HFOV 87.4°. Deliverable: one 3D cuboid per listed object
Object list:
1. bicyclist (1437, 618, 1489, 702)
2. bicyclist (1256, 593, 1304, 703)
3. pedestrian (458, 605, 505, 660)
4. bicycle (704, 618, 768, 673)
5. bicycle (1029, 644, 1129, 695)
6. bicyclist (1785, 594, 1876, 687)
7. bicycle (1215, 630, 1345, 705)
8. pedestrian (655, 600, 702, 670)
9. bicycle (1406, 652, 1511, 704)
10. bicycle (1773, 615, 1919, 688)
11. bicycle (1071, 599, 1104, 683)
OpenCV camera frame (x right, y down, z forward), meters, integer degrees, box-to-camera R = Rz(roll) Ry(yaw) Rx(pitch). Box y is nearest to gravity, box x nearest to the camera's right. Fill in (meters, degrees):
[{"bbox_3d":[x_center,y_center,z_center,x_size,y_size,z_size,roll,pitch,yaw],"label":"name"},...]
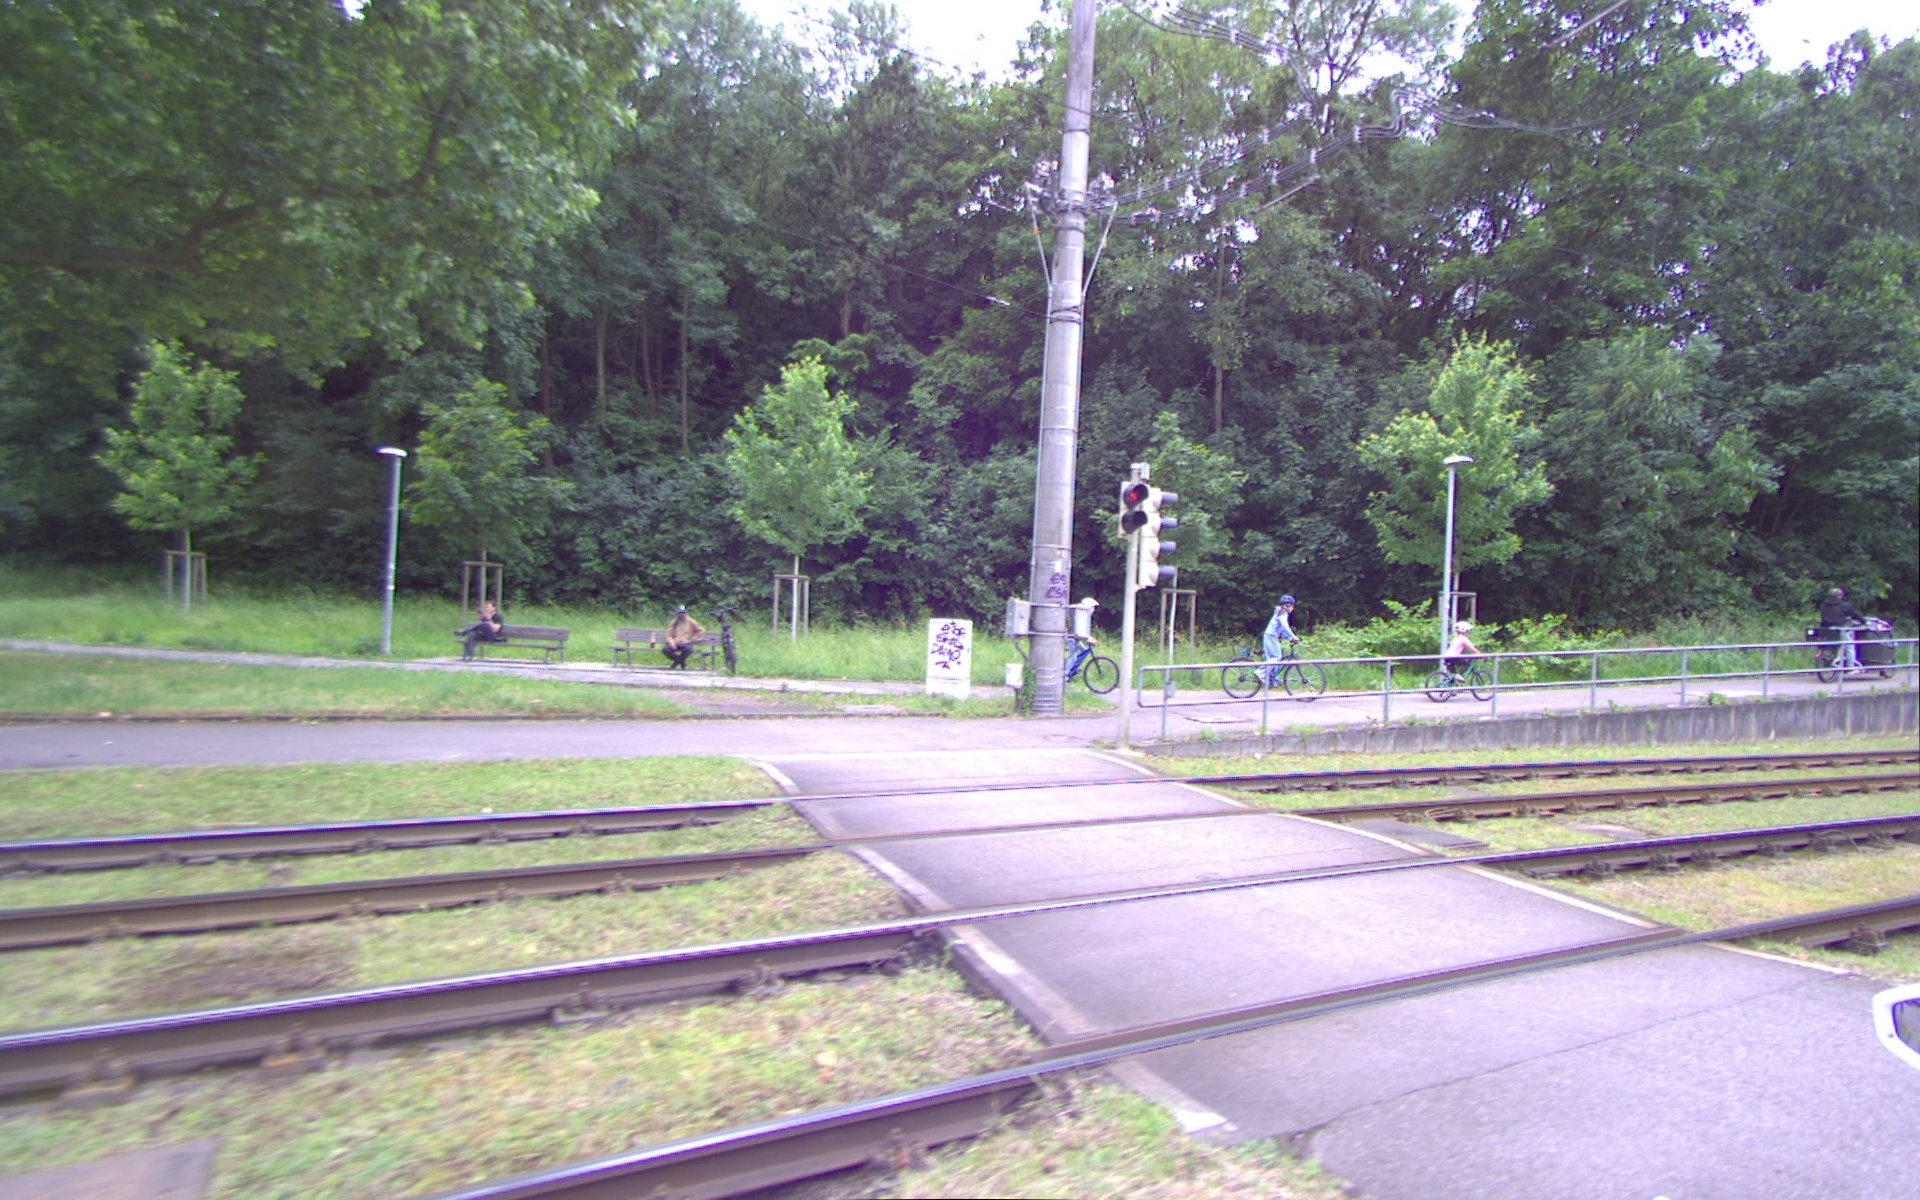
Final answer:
[{"bbox_3d":[8.157,0.964,16.296,0.570,1.319,0.454,-1,3,-8],"label":"bicyclist"},{"bbox_3d":[5.121,0.752,16.081,0.611,1.697,0.475,2,2,10],"label":"bicyclist"},{"bbox_3d":[-9.318,0.629,19.567,0.608,1.003,0.532,4,1,2],"label":"pedestrian"},{"bbox_3d":[-4.238,0.841,19.128,0.610,0.897,1.747,4,1,6],"label":"bicycle"},{"bbox_3d":[1.976,1.152,16.736,1.619,0.749,0.455,2,2,5],"label":"bicycle"},{"bbox_3d":[16.872,0.759,19.482,1.272,1.735,0.732,0,3,-18],"label":"bicyclist"},{"bbox_3d":[5.100,1.070,16.093,1.905,1.055,0.475,2,2,10],"label":"bicycle"},{"bbox_3d":[-5.354,0.650,19.108,0.660,1.251,0.580,4,1,0],"label":"pedestrian"},{"bbox_3d":[8.075,1.258,16.296,1.530,0.749,0.454,-1,3,-8],"label":"bicycle"},{"bbox_3d":[17.498,0.974,19.688,3.294,1.307,0.732,0,3,-19],"label":"bicycle"},{"bbox_3d":[2.117,0.677,16.700,0.505,1.348,0.455,2,2,5],"label":"bicycle"}]
